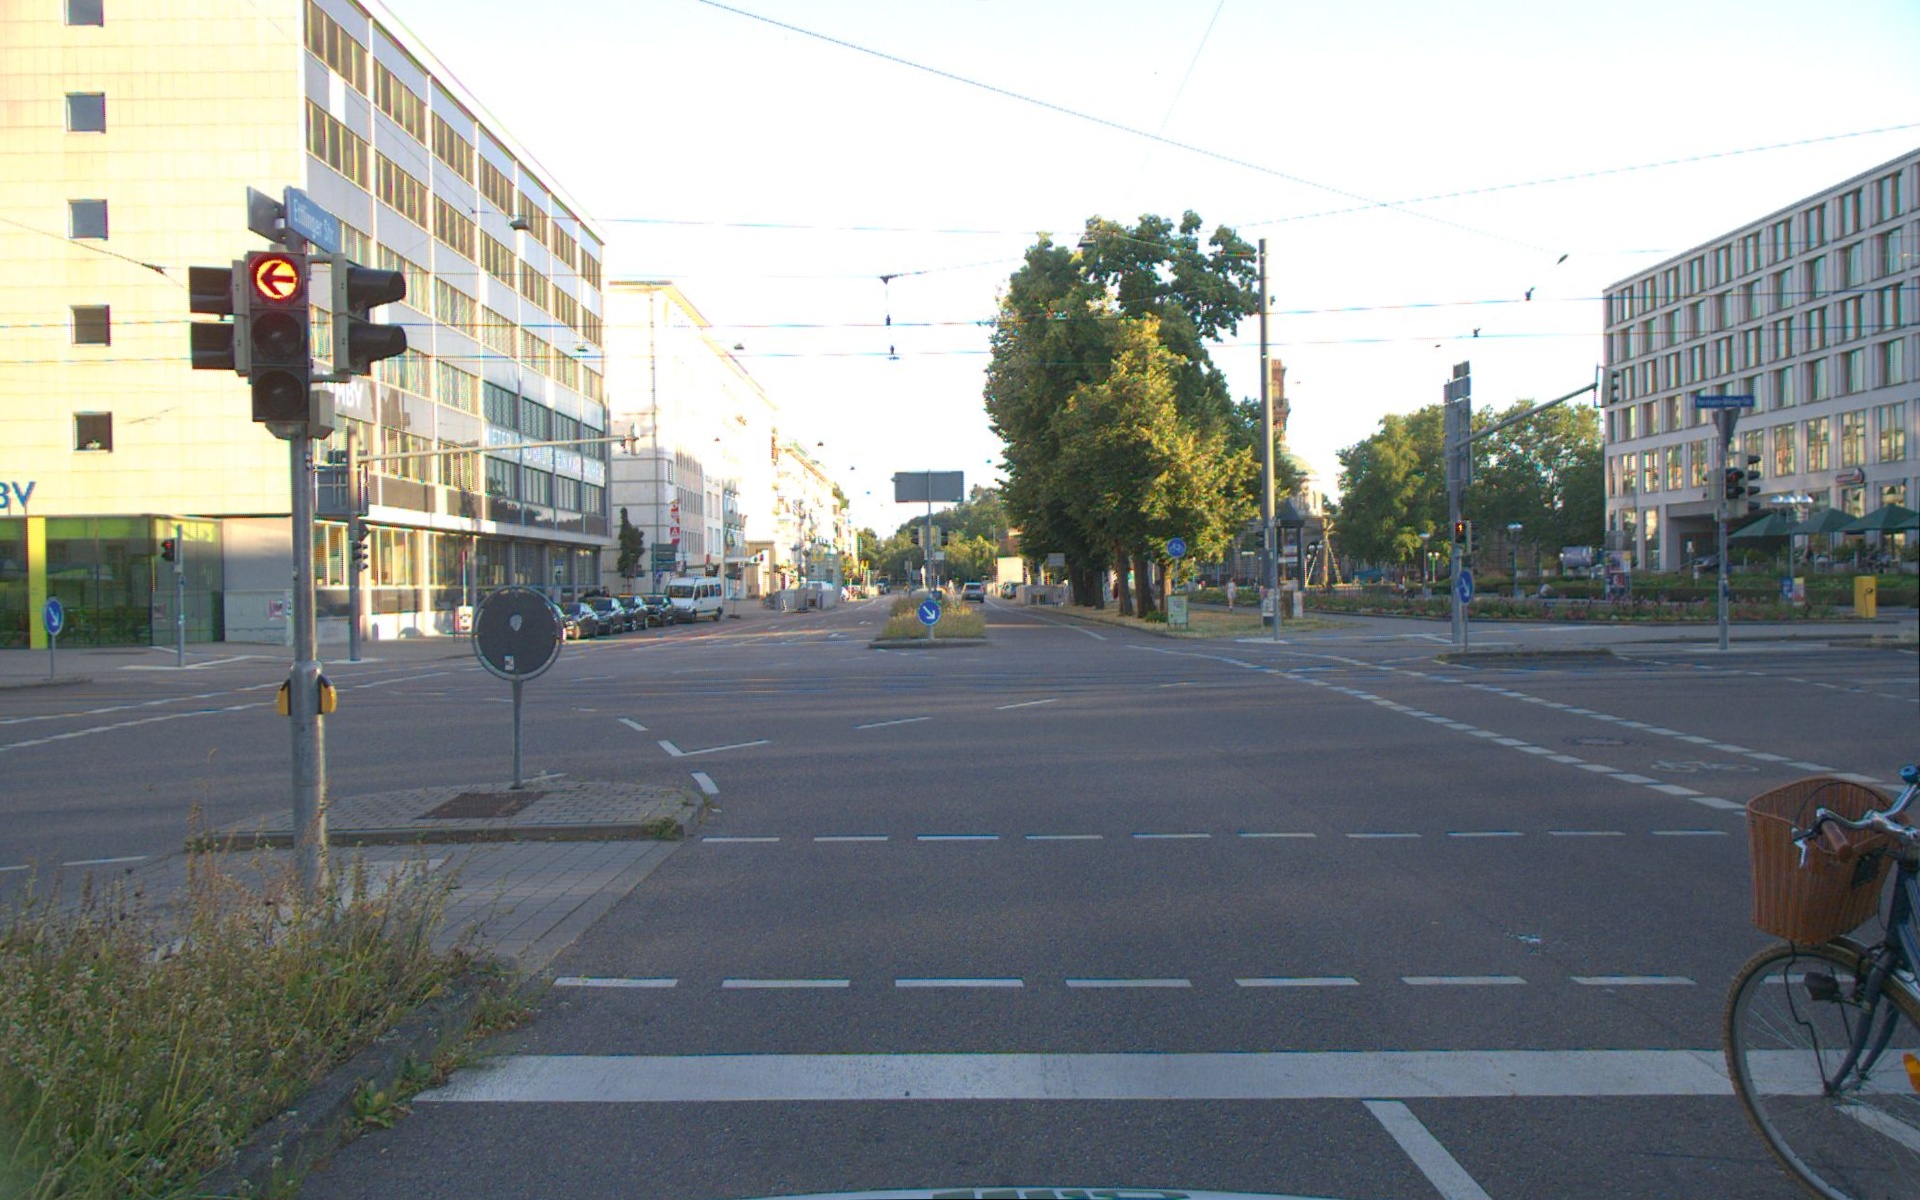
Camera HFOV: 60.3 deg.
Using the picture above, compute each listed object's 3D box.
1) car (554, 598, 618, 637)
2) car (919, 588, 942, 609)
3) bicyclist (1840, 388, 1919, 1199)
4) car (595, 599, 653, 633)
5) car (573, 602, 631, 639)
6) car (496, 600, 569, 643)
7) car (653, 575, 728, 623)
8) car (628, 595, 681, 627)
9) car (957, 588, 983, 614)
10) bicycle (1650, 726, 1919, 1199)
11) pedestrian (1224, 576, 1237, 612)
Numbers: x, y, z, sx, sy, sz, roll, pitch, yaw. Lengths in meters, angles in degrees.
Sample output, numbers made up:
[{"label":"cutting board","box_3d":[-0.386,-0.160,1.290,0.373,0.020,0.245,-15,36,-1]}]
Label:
[{"label":"car","box_3d":[-15.452,0.751,68.490,1.760,1.501,3.998,-1,-2,-1]},{"label":"car","box_3d":[-2.664,-0.171,149.465,1.953,1.847,3.999,-1,0,-2]},{"label":"bicyclist","box_3d":[2.124,0.457,2.999,0.615,1.723,0.748,-1,0,-1]},{"label":"car","box_3d":[-15.962,0.772,78.802,1.758,1.501,4.001,-1,-2,3]},{"label":"car","box_3d":[-15.889,0.947,73.626,1.760,1.501,3.998,-1,-2,-1]},{"label":"car","box_3d":[-16.053,0.831,62.215,1.760,1.501,3.998,-1,-2,-1]},{"label":"car","box_3d":[-14.910,0.009,91.813,2.130,2.427,5.994,-2,-2,11]},{"label":"car","box_3d":[-15.709,0.583,85.206,1.759,1.501,4.001,-1,-2,3]},{"label":"car","box_3d":[0.803,0.054,135.901,1.953,2.049,3.999,-1,0,-2]},{"label":"bicycle","box_3d":[2.137,0.884,3.316,0.624,1.087,2.069,0,0,-1]},{"label":"pedestrian","box_3d":[13.009,-0.291,79.474,0.498,1.697,0.531,-1,0,-2]}]
